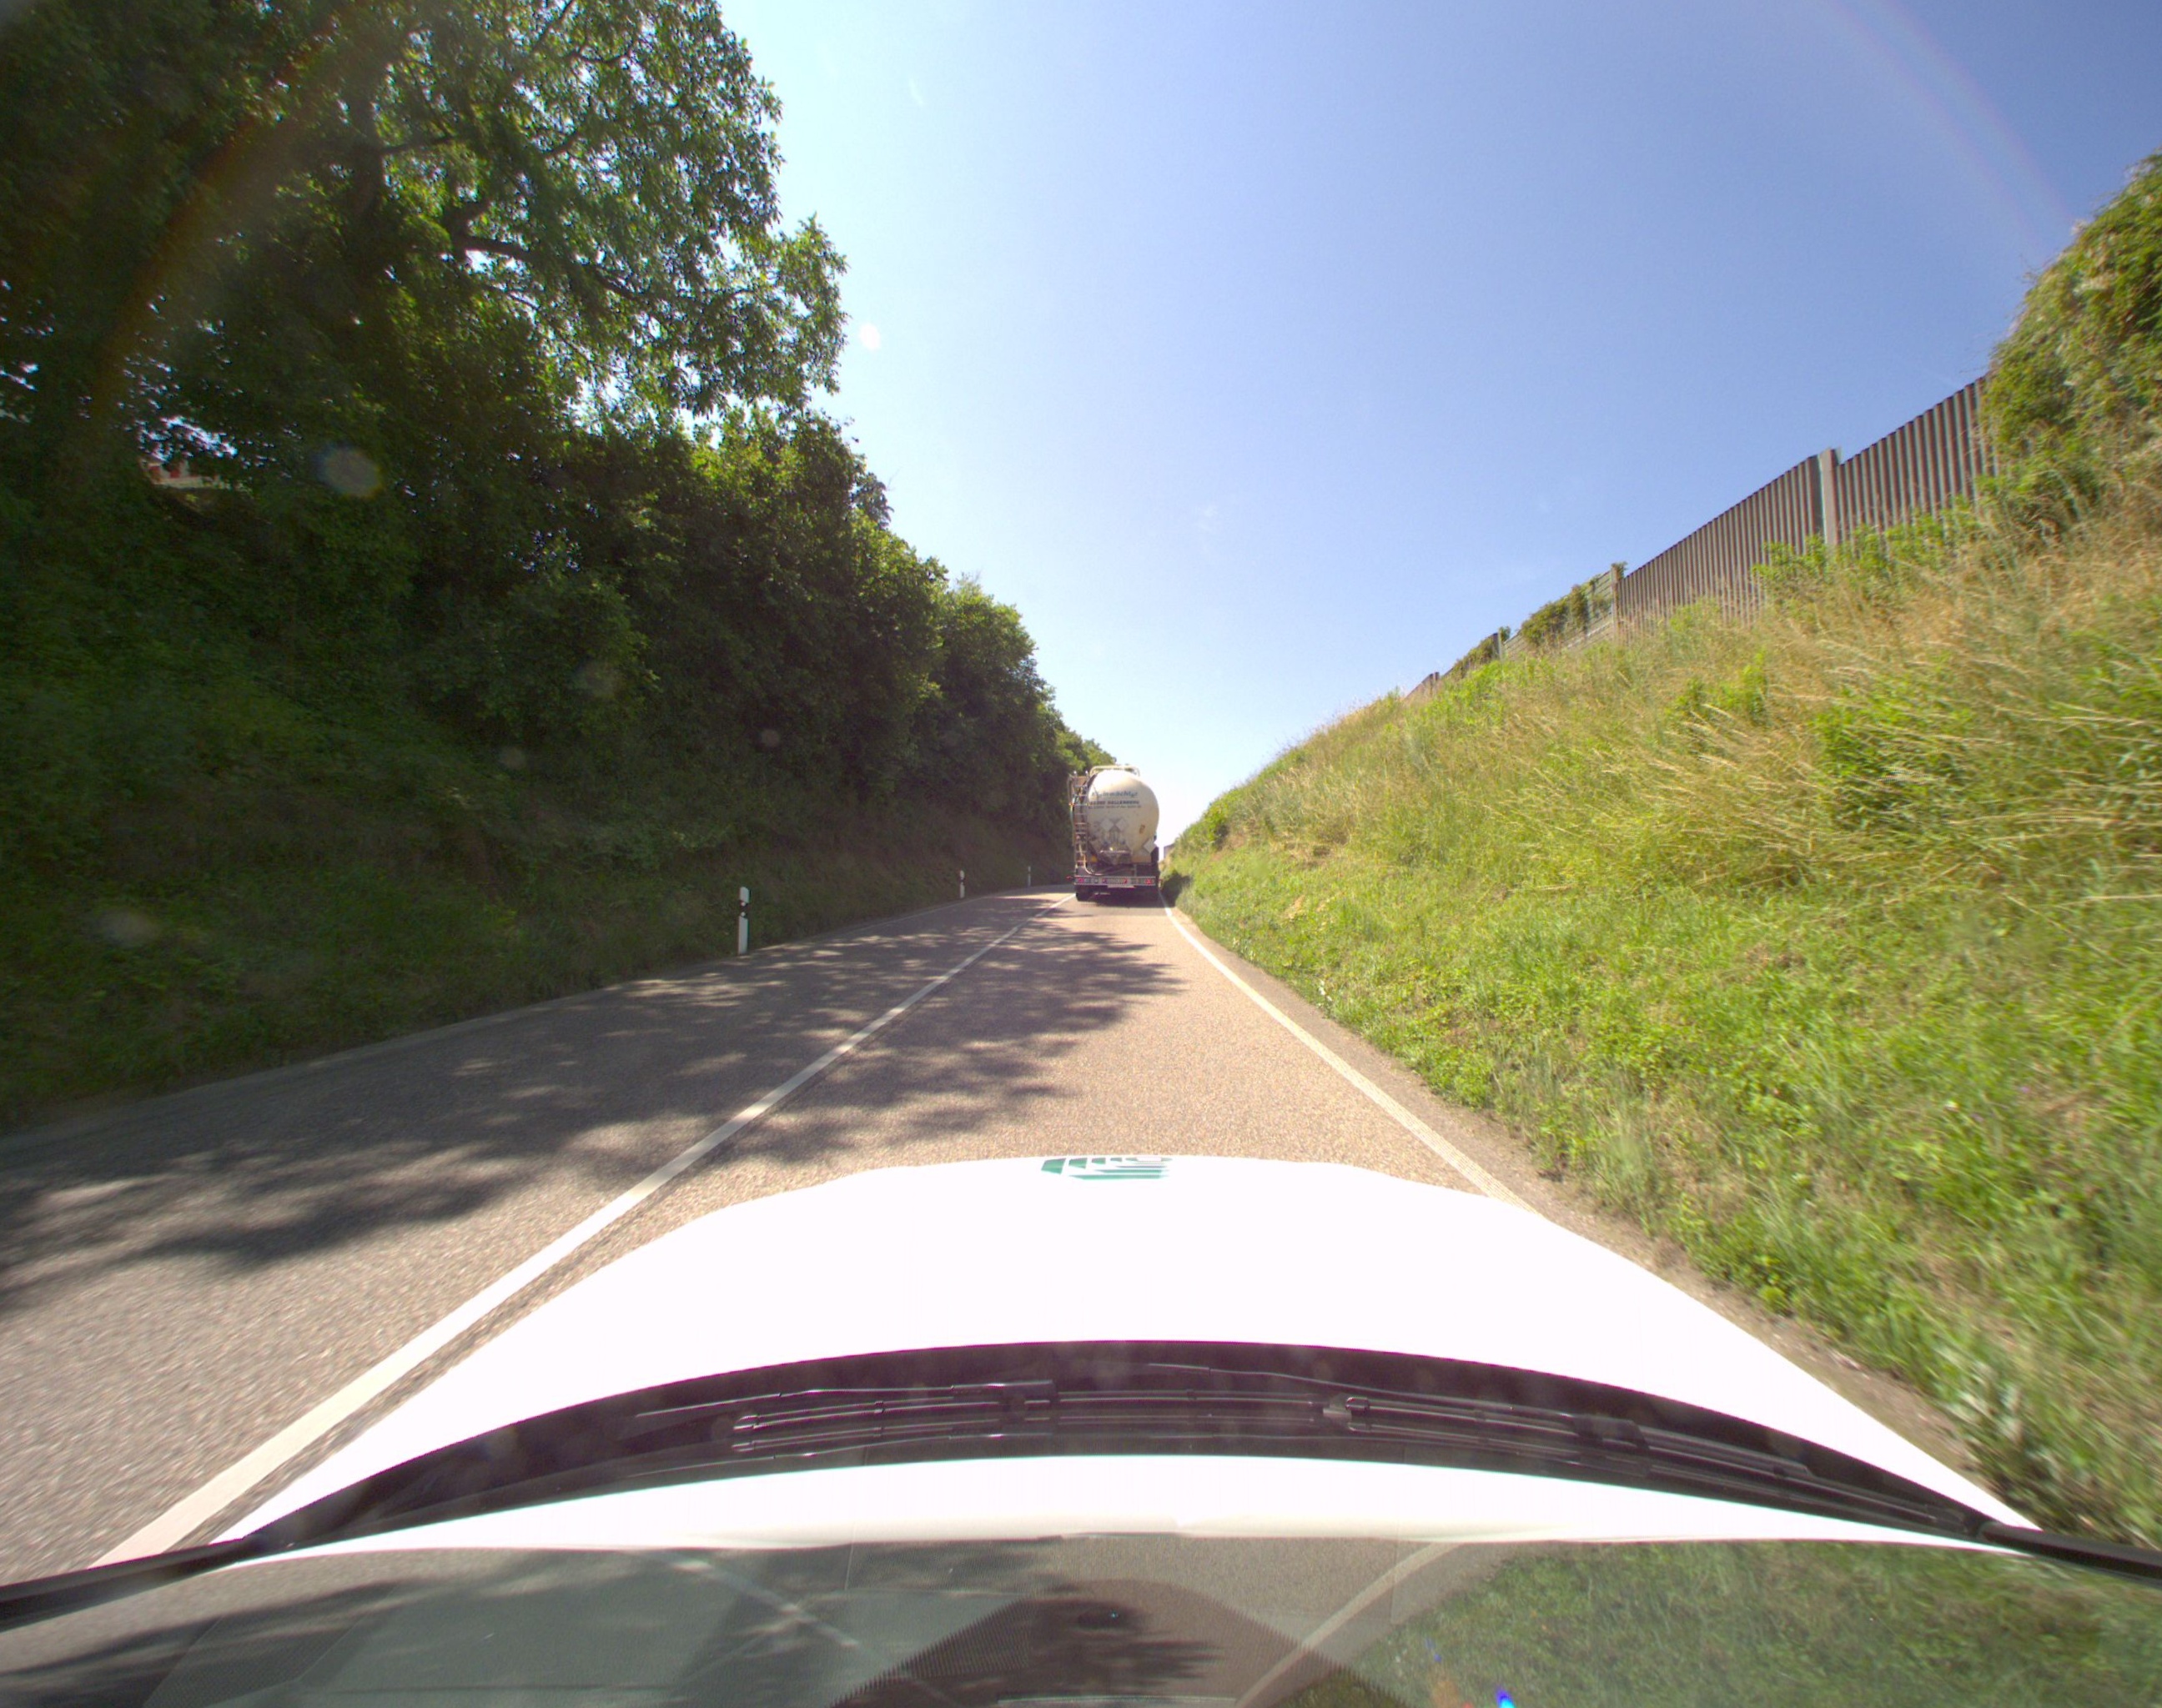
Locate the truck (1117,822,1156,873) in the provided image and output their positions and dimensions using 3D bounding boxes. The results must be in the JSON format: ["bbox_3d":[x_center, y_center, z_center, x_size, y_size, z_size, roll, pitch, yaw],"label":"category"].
[{"bbox_3d":[5.266,-0.538,76.456,3.176,4.309,11.812,3,0,4],"label":"truck"}]

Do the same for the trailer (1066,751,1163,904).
[{"bbox_3d":[1.262,-0.725,28.312,2.650,4.188,11.914,0,0,3],"label":"trailer"}]

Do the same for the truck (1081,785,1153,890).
[{"bbox_3d":[1.660,-0.562,34.246,2.714,3.930,7.272,0,-1,5],"label":"truck"}]
